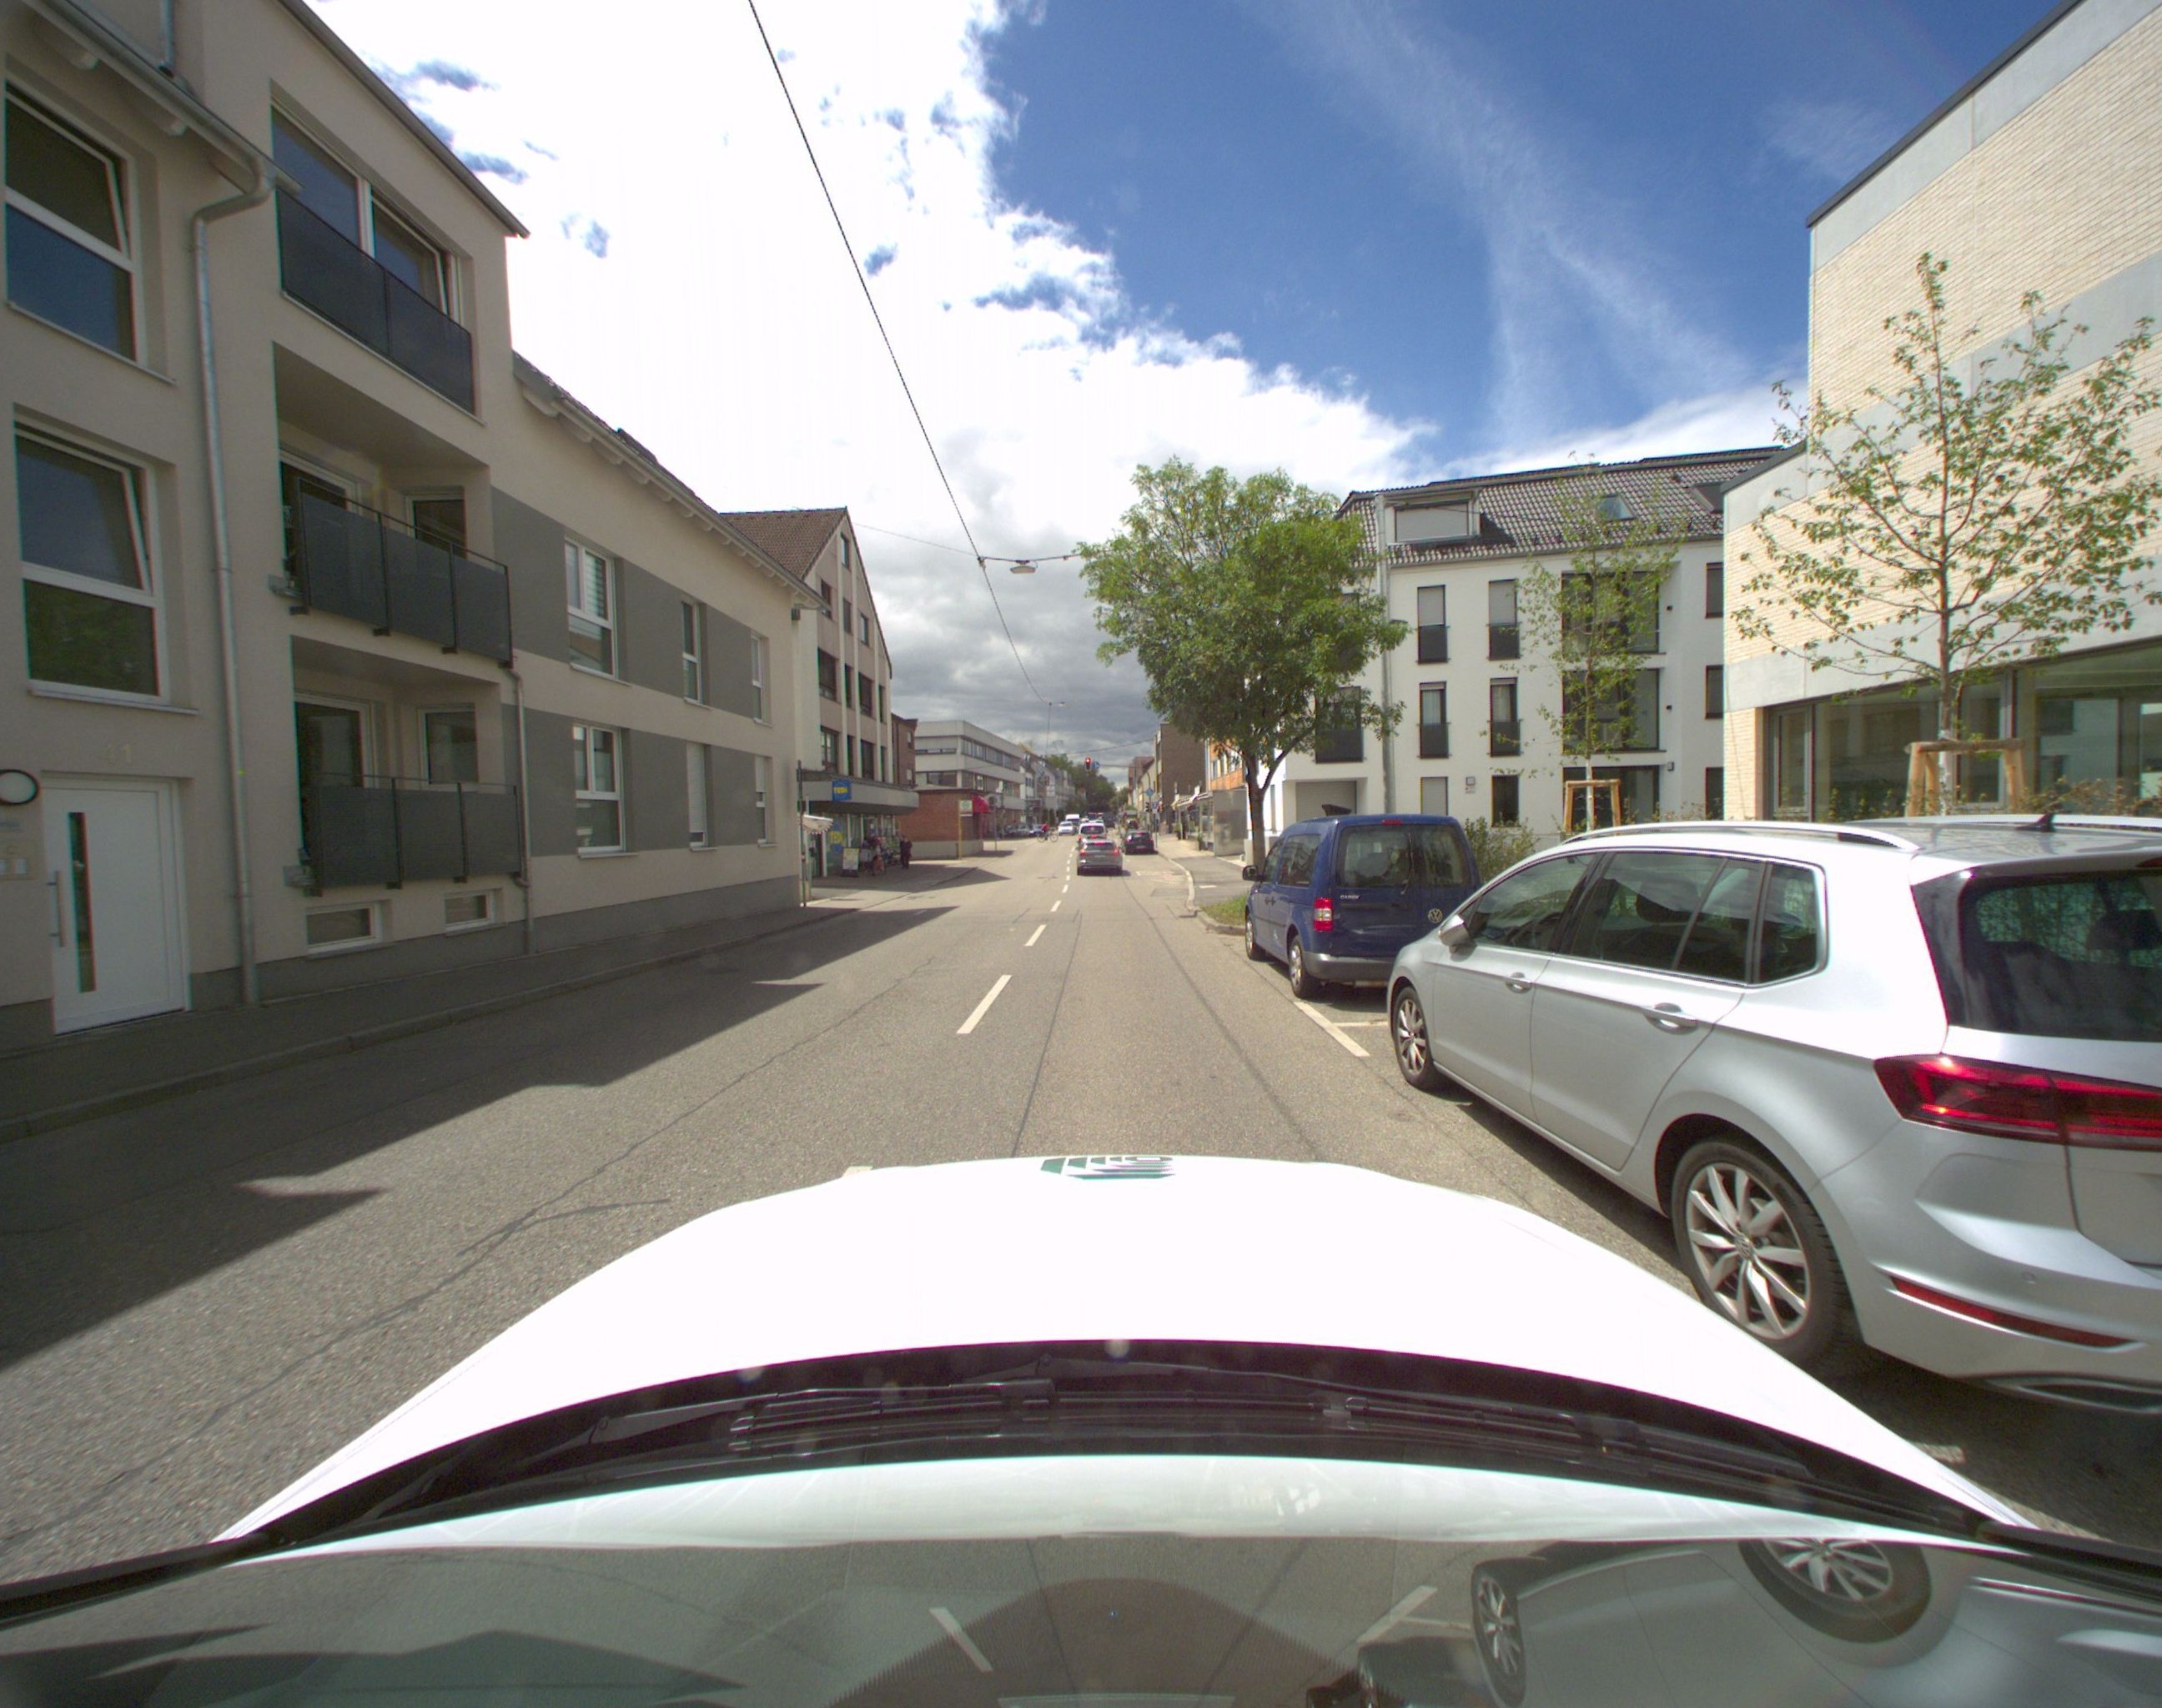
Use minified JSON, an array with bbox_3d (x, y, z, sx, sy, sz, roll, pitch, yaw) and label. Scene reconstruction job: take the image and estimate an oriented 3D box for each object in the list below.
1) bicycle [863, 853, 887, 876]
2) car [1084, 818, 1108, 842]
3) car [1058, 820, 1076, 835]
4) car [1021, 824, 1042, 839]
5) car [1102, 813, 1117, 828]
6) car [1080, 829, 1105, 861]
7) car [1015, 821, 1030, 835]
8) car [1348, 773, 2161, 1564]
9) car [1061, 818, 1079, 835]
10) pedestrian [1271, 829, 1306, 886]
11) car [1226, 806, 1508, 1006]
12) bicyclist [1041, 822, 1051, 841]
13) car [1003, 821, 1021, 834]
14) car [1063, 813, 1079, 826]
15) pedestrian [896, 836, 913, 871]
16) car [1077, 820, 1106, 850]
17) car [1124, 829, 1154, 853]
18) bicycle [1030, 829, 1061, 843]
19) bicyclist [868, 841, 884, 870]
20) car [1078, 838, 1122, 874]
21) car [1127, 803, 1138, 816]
[{"bbox_3d":[-8.450,0.432,33.505,0.465,0.861,1.778,0,2,2],"label":"bicycle"},{"bbox_3d":[1.246,-1.895,65.490,1.829,1.862,3.852,-1,1,2],"label":"car"},{"bbox_3d":[-1.640,-3.143,96.940,1.864,1.640,4.005,0,0,4],"label":"car"},{"bbox_3d":[-5.641,-2.518,93.732,1.864,1.640,4.005,0,0,4],"label":"car"},{"bbox_3d":[4.701,-5.539,134.249,2.427,2.318,5.329,0,1,1],"label":"car"},{"bbox_3d":[0.636,-0.500,44.064,1.269,1.527,3.052,-2,4,1],"label":"car"},{"bbox_3d":[-7.052,-3.130,97.961,1.379,1.541,3.400,-1,0,2],"label":"car"},{"bbox_3d":[2.771,0.581,3.730,1.779,1.509,4.366,-1,0,2],"label":"car"},{"bbox_3d":[-1.371,-3.445,103.238,1.986,2.013,4.002,0,0,2],"label":"car"},{"bbox_3d":[6.219,0.103,24.405,0.743,1.647,0.609,-3,0,-40],"label":"pedestrian"},{"bbox_3d":[2.971,0.457,9.573,1.837,1.767,4.517,-1,0,2],"label":"car"},{"bbox_3d":[-3.036,-1.928,70.502,0.768,1.606,0.582,-1,0,8],"label":"bicyclist"},{"bbox_3d":[-7.855,-2.972,92.907,1.546,1.376,3.400,-1,0,2],"label":"car"},{"bbox_3d":[-1.323,-4.710,111.234,1.864,1.640,4.004,-1,0,4],"label":"car"},{"bbox_3d":[-8.263,-0.035,38.167,0.625,1.602,0.563,-1,0,5],"label":"pedestrian"},{"bbox_3d":[0.743,-1.218,53.685,1.829,1.862,3.852,-1,1,2],"label":"car"},{"bbox_3d":[3.546,-0.810,50.067,1.745,1.370,4.005,-1,1,4],"label":"car"},{"bbox_3d":[-3.069,-1.552,70.484,2.510,1.174,0.586,-1,0,7],"label":"bicycle"},{"bbox_3d":[-8.450,0.060,33.543,0.456,1.179,0.625,-2,1,1],"label":"bicyclist"},{"bbox_3d":[0.818,0.054,34.644,1.737,1.417,4.002,-2,1,2],"label":"car"},{"bbox_3d":[9.316,-8.036,147.604,1.795,2.013,4.002,-1,0,2],"label":"car"}]
